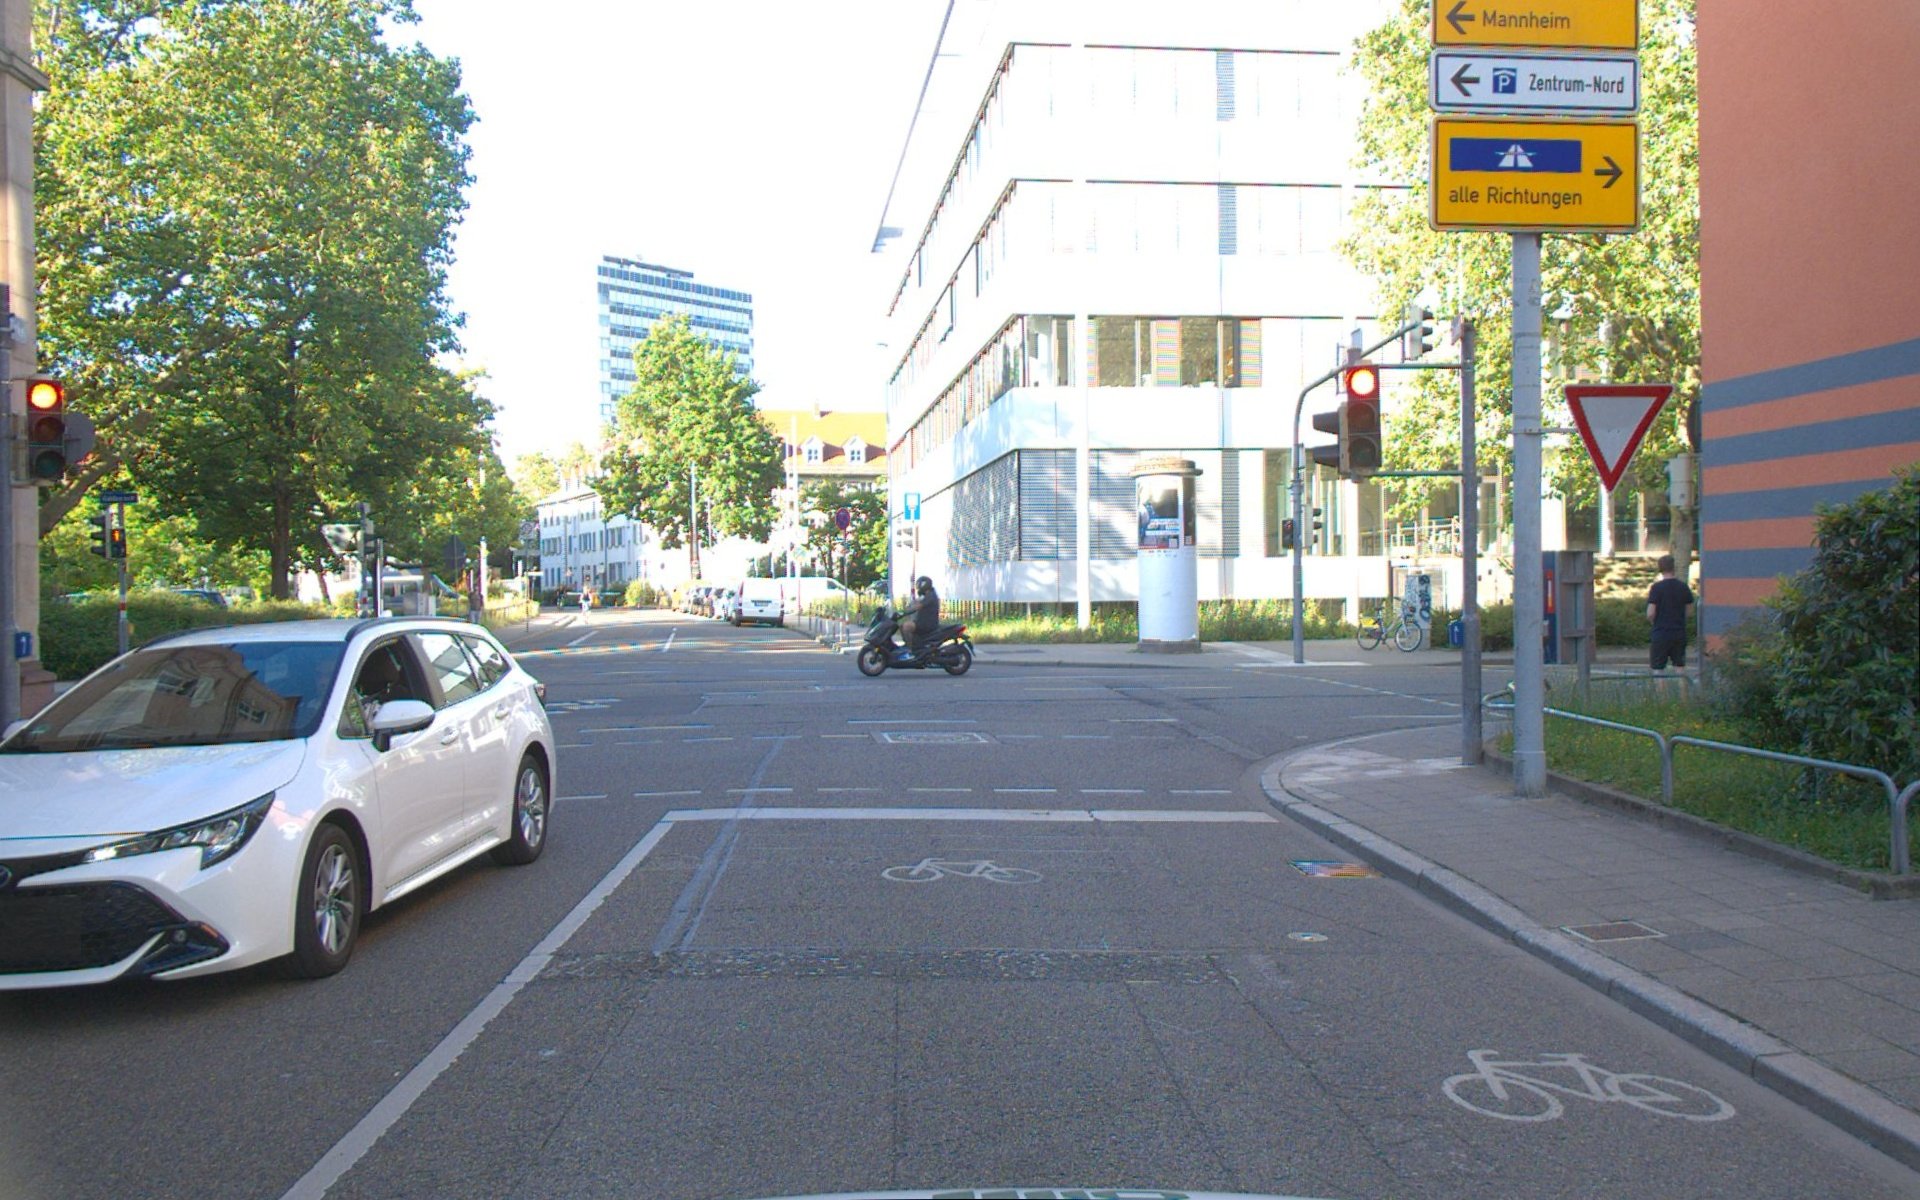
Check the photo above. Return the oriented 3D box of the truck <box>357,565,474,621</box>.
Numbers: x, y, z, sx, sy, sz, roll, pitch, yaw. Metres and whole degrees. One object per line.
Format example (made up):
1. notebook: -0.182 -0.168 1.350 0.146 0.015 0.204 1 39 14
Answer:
1. truck: -24.563 -0.335 74.765 4.741 2.441 2.082 0 1 -11

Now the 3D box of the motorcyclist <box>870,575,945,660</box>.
1. motorcyclist: -0.910 0.302 28.931 1.268 1.444 0.821 -1 0 -1

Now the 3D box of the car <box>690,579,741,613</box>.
1. car: -12.672 -0.236 85.377 1.860 1.684 4.391 0 1 -19

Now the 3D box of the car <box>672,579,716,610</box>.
1. car: -15.346 -0.349 95.273 1.860 1.684 4.391 0 1 -19

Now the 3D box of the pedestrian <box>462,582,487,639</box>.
1. pedestrian: -15.346 0.328 52.293 0.691 1.753 0.951 -2 0 -15

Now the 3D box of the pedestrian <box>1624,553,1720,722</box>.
1. pedestrian: 8.103 0.413 18.852 0.692 1.872 0.837 1 0 -1

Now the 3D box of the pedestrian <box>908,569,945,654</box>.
1. pedestrian: -0.758 0.260 37.798 0.547 1.882 0.678 -3 1 15

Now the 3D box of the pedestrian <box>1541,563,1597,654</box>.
1. pedestrian: 12.708 0.173 34.528 0.819 1.872 0.707 1 0 -11

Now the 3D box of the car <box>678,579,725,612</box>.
1. car: -14.170 -0.254 90.571 1.860 1.684 4.391 0 1 -19

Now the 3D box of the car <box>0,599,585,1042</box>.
1. car: -3.398 0.806 8.130 1.847 1.501 4.546 -3 0 2

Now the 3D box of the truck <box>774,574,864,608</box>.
1. truck: -8.776 -0.577 102.932 5.258 2.049 1.989 -1 0 -20

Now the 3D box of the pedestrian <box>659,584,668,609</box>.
1. pedestrian: -19.271 -0.250 107.648 0.428 1.636 0.488 -1 0 -27

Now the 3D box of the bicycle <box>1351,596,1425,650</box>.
1. bicycle: 9.351 0.491 36.179 0.503 1.067 1.667 -3 4 -35

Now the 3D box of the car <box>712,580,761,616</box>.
1. car: -10.607 -0.112 78.159 1.856 1.582 4.400 0 1 -14

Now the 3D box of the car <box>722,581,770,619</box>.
1. car: -9.440 -0.036 72.806 1.854 1.582 4.404 0 1 -10

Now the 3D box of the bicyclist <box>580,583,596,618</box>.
1. bicyclist: -16.438 0.014 73.079 0.604 1.559 0.901 -1 0 -9

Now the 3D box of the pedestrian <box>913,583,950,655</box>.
1. pedestrian: -0.643 0.427 37.194 0.551 1.567 0.673 -4 1 -19

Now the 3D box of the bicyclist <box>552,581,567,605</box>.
1. bicyclist: -27.072 -0.463 111.770 0.850 1.541 1.016 -3 0 -11

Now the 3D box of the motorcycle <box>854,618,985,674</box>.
1. motorcycle: -0.702 0.796 28.933 2.251 0.904 0.821 -1 0 -1

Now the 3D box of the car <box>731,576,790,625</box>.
1. car: -7.835 -0.018 64.560 2.047 1.827 4.404 0 1 -10

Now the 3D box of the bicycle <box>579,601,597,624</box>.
1. bicycle: -16.428 0.530 73.068 0.604 0.986 1.837 -1 1 -9

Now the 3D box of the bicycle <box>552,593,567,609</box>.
1. bicycle: -27.050 0.055 111.756 0.850 1.027 2.408 -3 1 -11

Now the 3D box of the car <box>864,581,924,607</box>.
1. car: -4.162 -0.363 104.187 3.502 1.573 1.549 -1 0 -20

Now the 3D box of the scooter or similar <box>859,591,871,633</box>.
1. scooter or similar: -3.363 0.430 58.519 0.324 1.449 1.333 1 0 -6

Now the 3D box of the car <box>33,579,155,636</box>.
1. car: -39.974 0.326 76.448 4.472 2.433 2.069 -2 0 -10
